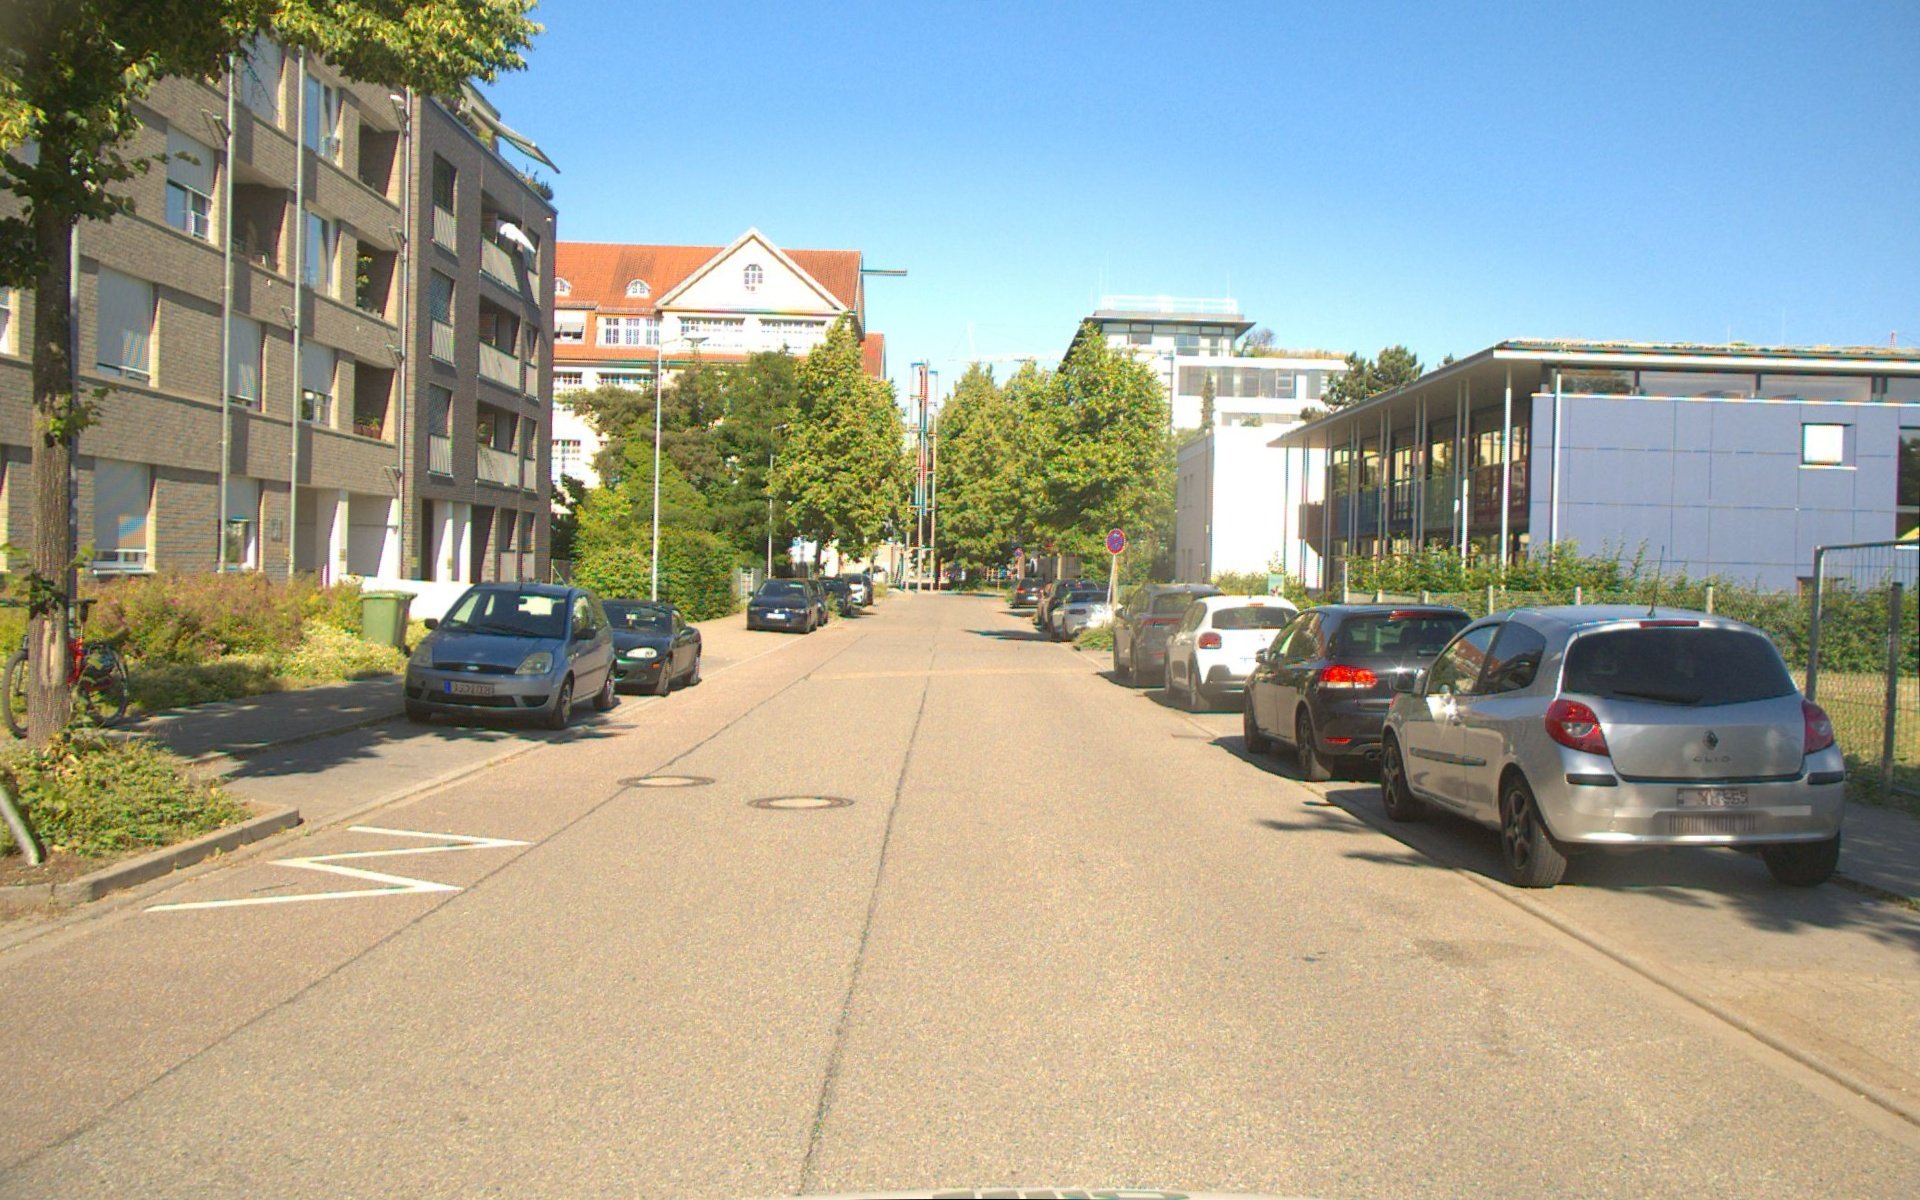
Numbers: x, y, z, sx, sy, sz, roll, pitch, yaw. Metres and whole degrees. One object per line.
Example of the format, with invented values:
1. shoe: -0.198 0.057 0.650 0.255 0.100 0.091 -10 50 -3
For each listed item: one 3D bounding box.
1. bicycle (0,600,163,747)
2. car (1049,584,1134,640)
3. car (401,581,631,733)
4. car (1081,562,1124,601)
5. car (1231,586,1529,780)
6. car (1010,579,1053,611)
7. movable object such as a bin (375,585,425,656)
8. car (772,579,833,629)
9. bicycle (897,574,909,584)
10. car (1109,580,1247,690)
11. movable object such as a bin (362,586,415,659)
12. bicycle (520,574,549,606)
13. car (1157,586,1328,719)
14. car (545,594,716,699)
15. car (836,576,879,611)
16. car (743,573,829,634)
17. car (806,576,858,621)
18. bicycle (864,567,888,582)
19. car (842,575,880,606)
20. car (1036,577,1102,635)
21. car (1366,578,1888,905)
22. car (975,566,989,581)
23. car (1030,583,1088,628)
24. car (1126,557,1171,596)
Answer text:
1. bicycle: -7.561 0.586 14.183 0.277 1.144 1.986 1 1 6
2. car: 3.647 0.319 46.499 1.793 1.447 4.231 -1 0 -3
3. car: -4.816 0.546 18.448 1.578 1.490 3.873 1 1 -1
4. car: 7.686 -0.988 89.555 1.982 2.049 4.000 1 0 0
5. car: 3.706 0.670 15.312 1.653 1.520 4.077 1 0 -1
6. car: 3.554 -0.241 82.483 1.953 1.512 4.000 1 0 0
7. movable object such as a bin: -9.025 0.328 26.663 0.595 1.102 0.636 1 1 -2
8. car: -5.086 0.104 53.820 1.597 1.527 3.577 1 1 0
9. bicycle: -4.176 -1.519 120.997 0.370 0.695 1.066 0 2 -36
10. car: 3.610 0.519 28.044 1.691 1.681 4.325 -1 1 -1
11. movable object such as a bin: -8.951 0.350 25.913 0.595 1.109 0.636 1 1 -2
12. bicycle: -11.949 -0.302 46.490 0.248 0.852 1.775 1 2 3
13. car: 3.803 0.649 22.830 1.645 1.568 3.849 1 2 0
14. car: -4.614 0.604 23.659 1.566 1.238 3.876 3 1 1
15. car: -4.730 -0.320 76.615 1.741 1.556 4.000 1 0 0
16. car: -4.903 0.089 47.200 1.725 1.554 4.002 4 0 3
17. car: -4.857 -0.091 63.135 1.660 1.633 3.942 1 1 0
18. bicycle: -5.146 -1.557 101.018 1.438 0.857 0.335 1 1 -4
19. car: -4.876 -0.494 81.757 1.666 1.496 3.461 1 1 0
20. car: 3.490 0.156 53.587 1.784 1.748 4.119 -1 1 -1
21. car: 3.845 0.689 10.323 1.628 1.539 4.001 1 2 0
22. car: 3.059 -3.760 233.403 1.953 2.048 4.001 1 2 0
23. car: 3.532 0.175 59.833 1.797 1.542 3.880 1 0 -1
24. car: 10.176 -1.269 89.648 1.953 2.049 4.000 1 1 0
